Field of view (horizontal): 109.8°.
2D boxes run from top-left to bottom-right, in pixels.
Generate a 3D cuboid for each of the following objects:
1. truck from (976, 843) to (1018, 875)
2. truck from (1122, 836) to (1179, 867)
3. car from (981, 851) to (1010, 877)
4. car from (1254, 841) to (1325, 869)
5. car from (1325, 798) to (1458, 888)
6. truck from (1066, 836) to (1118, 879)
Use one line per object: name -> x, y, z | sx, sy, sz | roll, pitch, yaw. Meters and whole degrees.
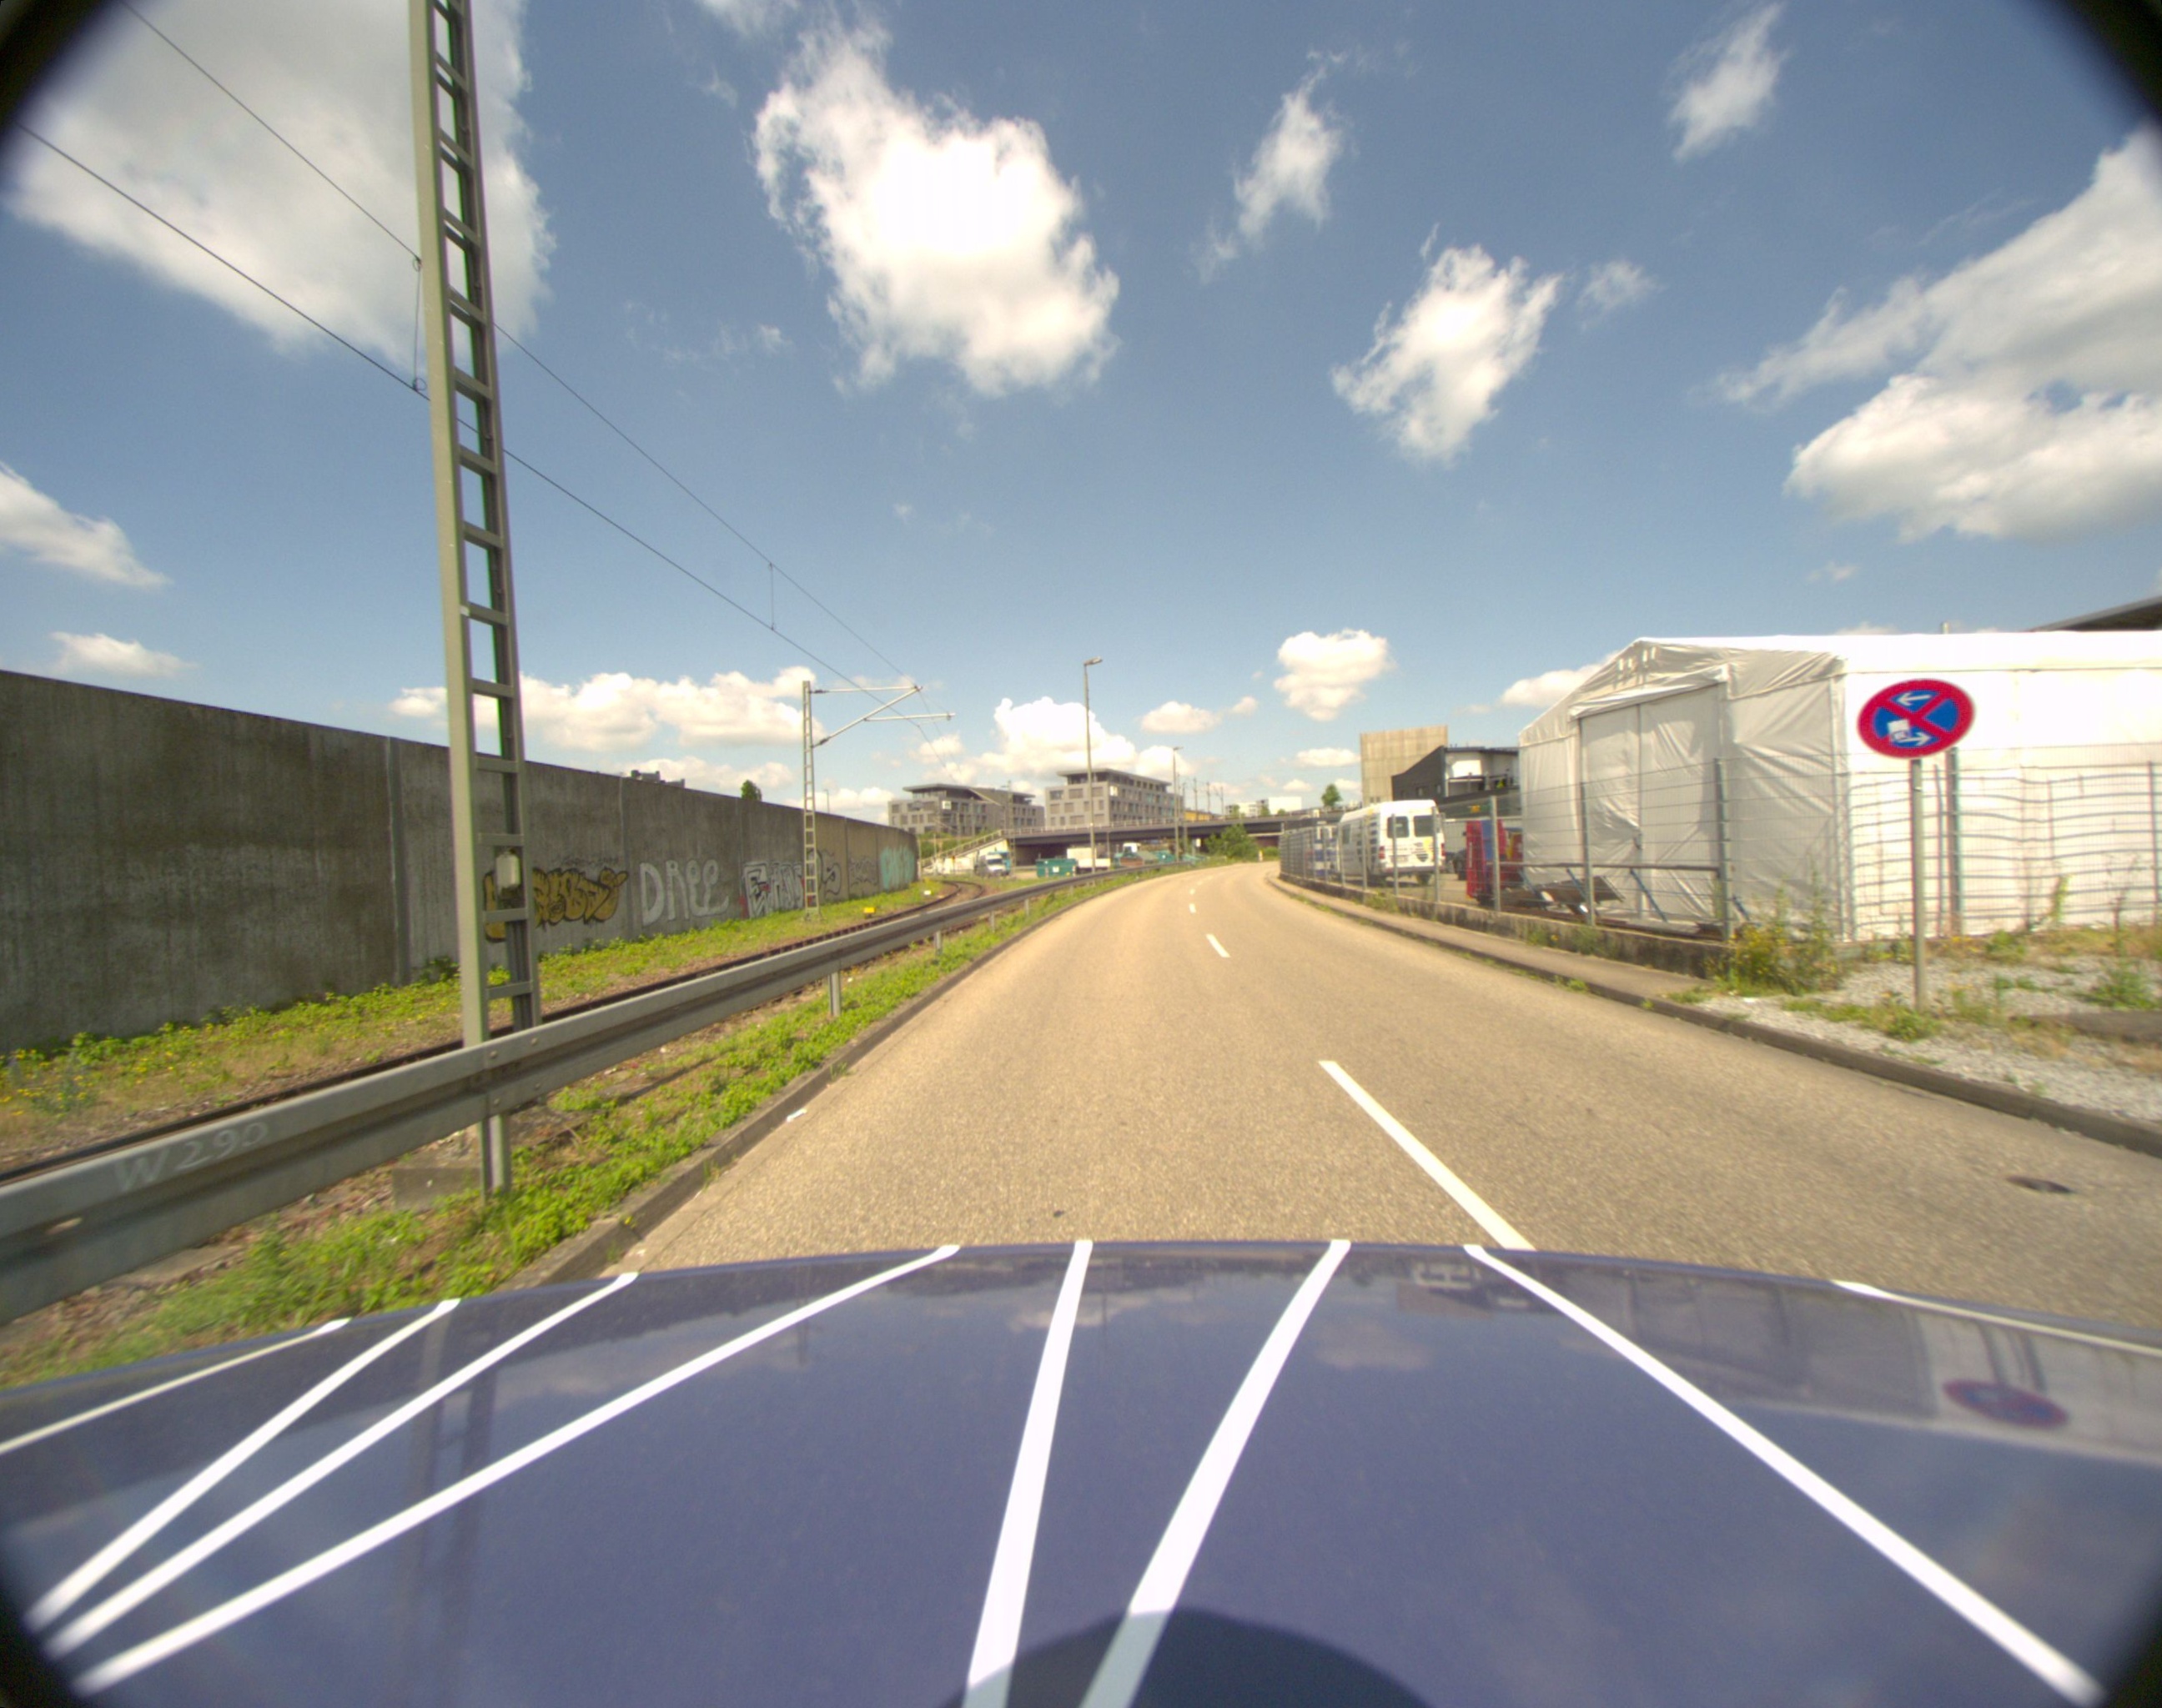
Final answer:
truck -> -10.325, 0.570, 92.653 | 2.658, 3.625, 6.874 | -5, 2, -26
truck -> 7.325, -0.299, 79.886 | 5.501, 3.080, 2.003 | -2, 1, 24
car -> -9.209, 1.053, 81.392 | 2.068, 2.512, 5.874 | -4, 1, -16
car -> 17.868, 0.105, 65.258 | 5.341, 1.905, 1.999 | -5, 1, -3
car -> 10.052, -0.319, 25.342 | 2.123, 2.522, 6.719 | -2, 0, 5
truck -> 0.829, 0.244, 65.771 | 2.995, 3.399, 8.107 | -2, 0, -9
